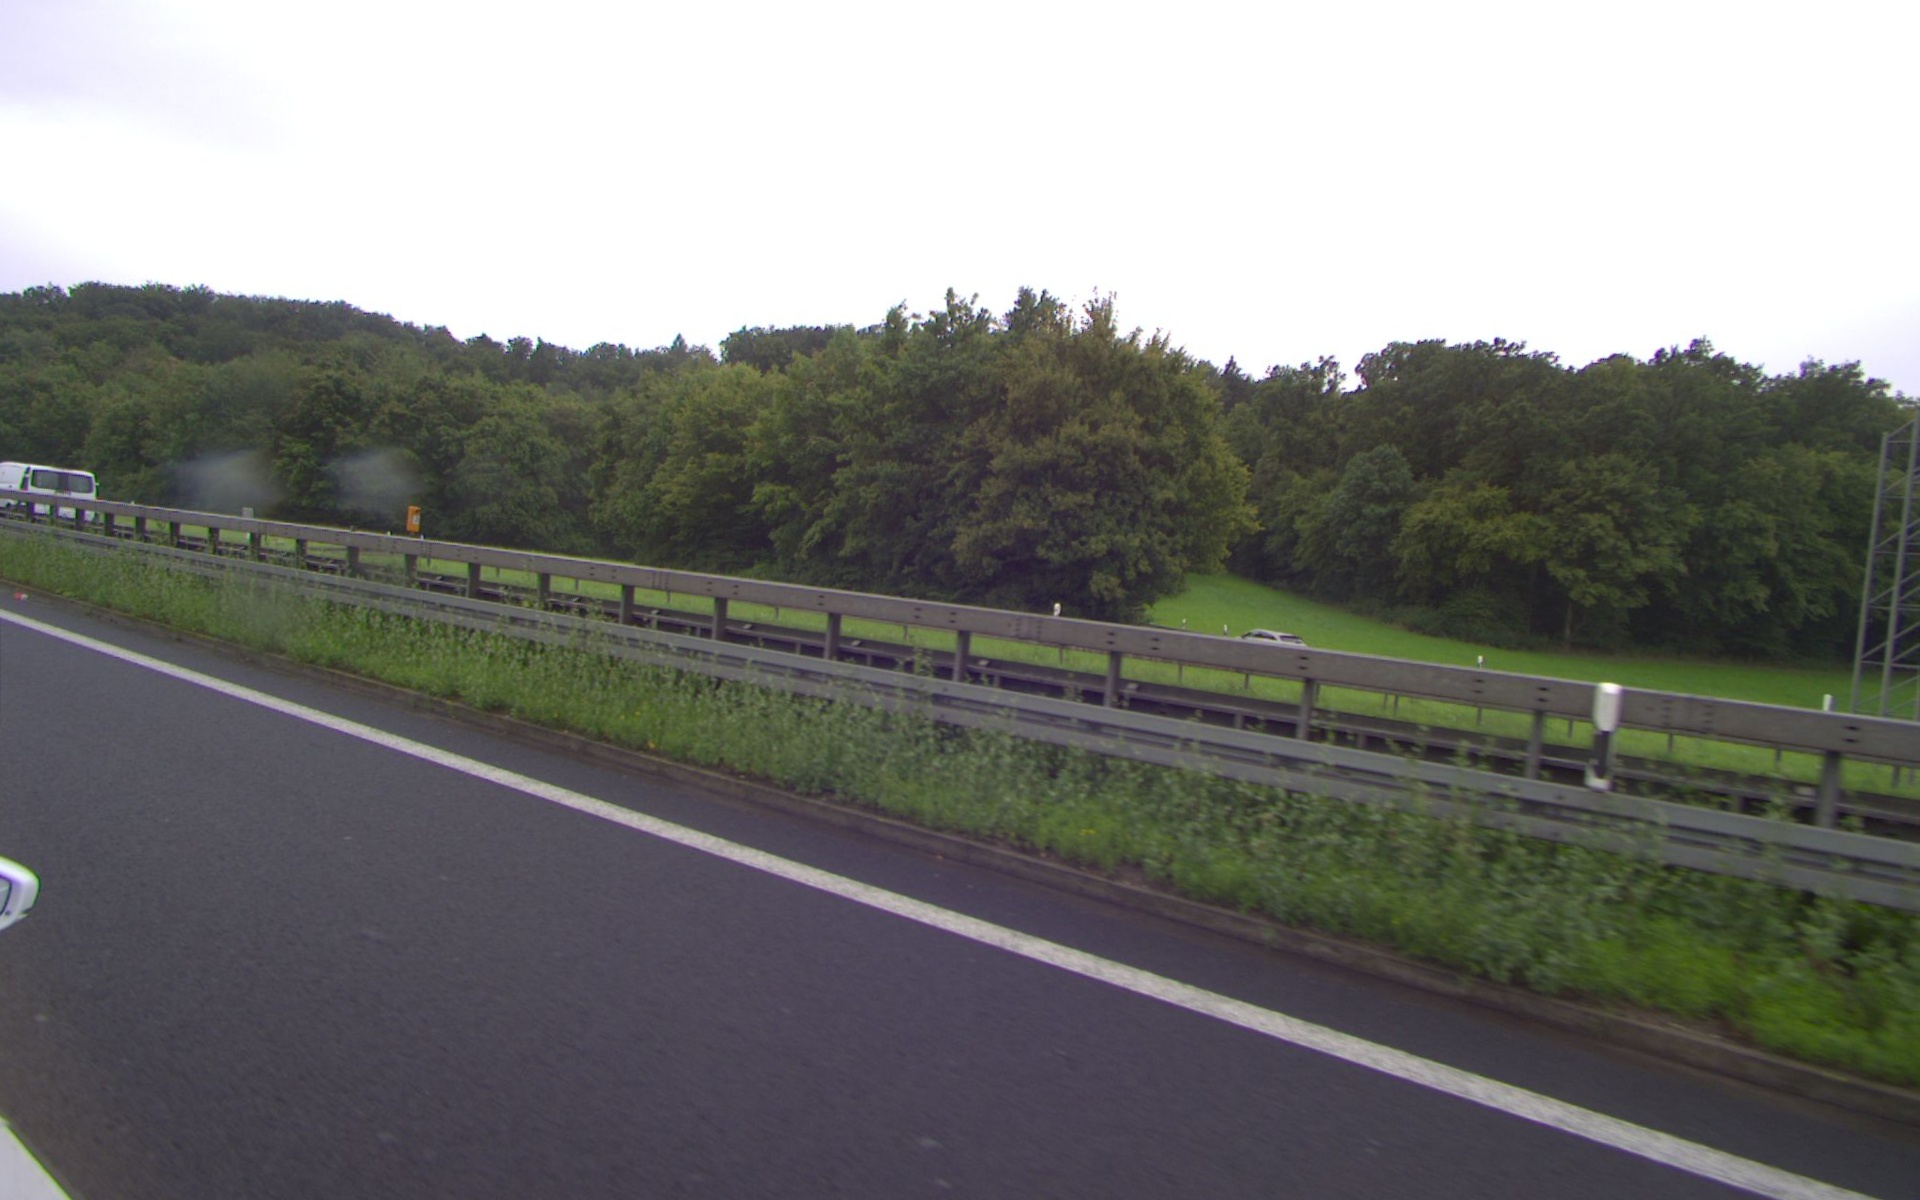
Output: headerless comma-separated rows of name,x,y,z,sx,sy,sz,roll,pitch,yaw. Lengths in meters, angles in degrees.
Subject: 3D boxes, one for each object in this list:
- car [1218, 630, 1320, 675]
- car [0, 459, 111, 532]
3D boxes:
car,13.388,2.245,43.914,1.876,1.472,4.694,6,-1,-16
car,-26.974,-3.097,29.321,4.639,1.714,1.912,6,0,30
